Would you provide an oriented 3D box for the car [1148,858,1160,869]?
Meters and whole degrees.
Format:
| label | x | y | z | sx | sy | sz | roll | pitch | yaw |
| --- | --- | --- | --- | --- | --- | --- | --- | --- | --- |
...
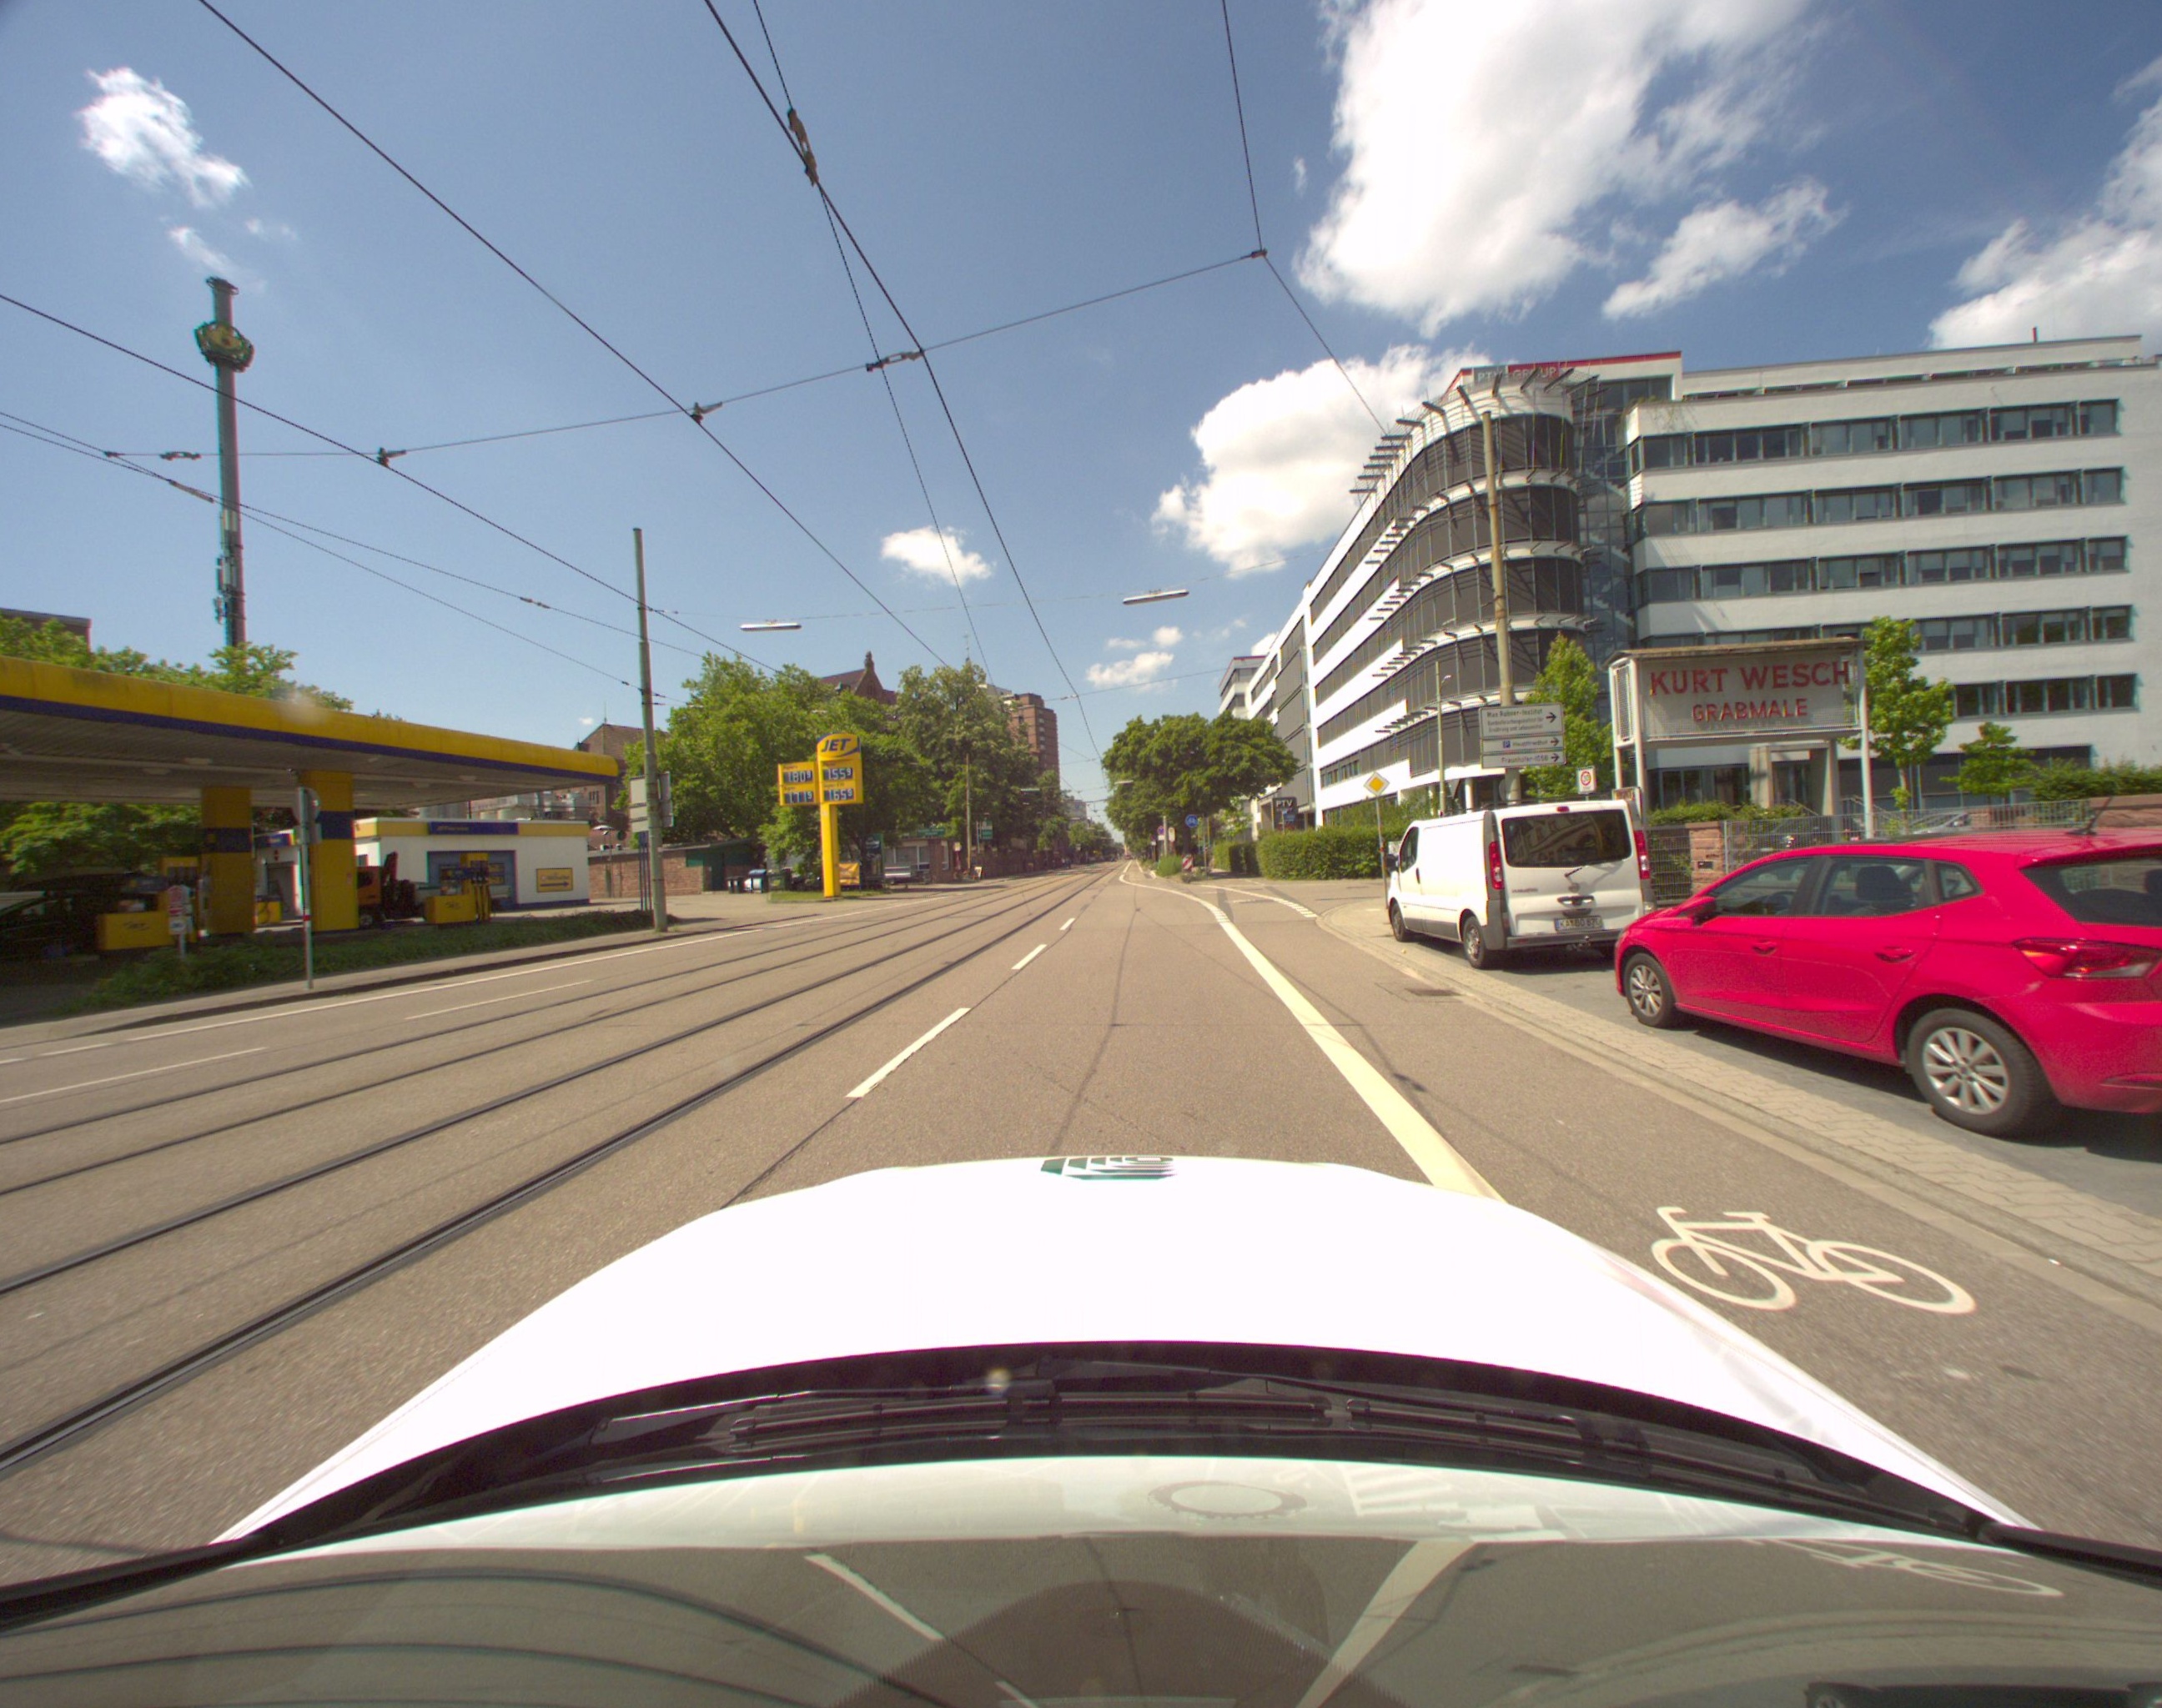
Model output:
| label | x | y | z | sx | sy | sz | roll | pitch | yaw |
| --- | --- | --- | --- | --- | --- | --- | --- | --- | --- |
| car | 10.176 | 1.309 | 113.714 | 1.627 | 1.501 | 4.004 | -3 | -1 | 4 |

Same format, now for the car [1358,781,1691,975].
| label | x | y | z | sx | sy | sz | roll | pitch | yaw |
| --- | --- | --- | --- | --- | --- | --- | --- | --- | --- |
| car | 5.839 | 0.267 | 11.776 | 1.985 | 1.991 | 5.520 | -5 | 0 | 4 |

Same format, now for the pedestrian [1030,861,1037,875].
| label | x | y | z | sx | sy | sz | roll | pitch | yaw |
| --- | --- | --- | --- | --- | --- | --- | --- | --- | --- |
| pedestrian | -6.136 | 1.826 | 106.300 | 0.740 | 1.728 | 0.868 | -3 | -1 | 3 |

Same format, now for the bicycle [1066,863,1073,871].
| label | x | y | z | sx | sy | sz | roll | pitch | yaw |
| --- | --- | --- | --- | --- | --- | --- | --- | --- | --- |
| bicycle | -1.707 | 1.942 | 121.554 | 0.698 | 1.204 | 2.242 | -5 | -1 | 3 |

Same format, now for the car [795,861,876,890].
| label | x | y | z | sx | sy | sz | roll | pitch | yaw |
| --- | --- | --- | --- | --- | --- | --- | --- | --- | --- |
| car | -15.276 | 1.331 | 50.798 | 4.358 | 1.590 | 1.976 | -3 | 0 | -42 |

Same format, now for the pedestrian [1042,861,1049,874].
| label | x | y | z | sx | sy | sz | roll | pitch | yaw |
| --- | --- | --- | --- | --- | --- | --- | --- | --- | --- |
| pedestrian | -4.687 | 1.789 | 107.639 | 0.811 | 1.770 | 0.925 | -3 | -1 | 3 |

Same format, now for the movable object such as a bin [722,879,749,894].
| label | x | y | z | sx | sy | sz | roll | pitch | yaw |
| --- | --- | --- | --- | --- | --- | --- | --- | --- | --- |
| movable object such as a bin | -21.532 | 2.005 | 50.766 | 1.332 | 0.873 | 0.762 | -3 | 0 | 23 |

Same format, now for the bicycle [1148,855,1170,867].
| label | x | y | z | sx | sy | sz | roll | pitch | yaw |
| --- | --- | --- | --- | --- | --- | --- | --- | --- | --- |
| bicycle | 9.213 | 0.843 | 96.027 | 2.497 | 1.209 | 0.649 | -3 | -1 | 7 |

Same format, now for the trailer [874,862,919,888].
| label | x | y | z | sx | sy | sz | roll | pitch | yaw |
| --- | --- | --- | --- | --- | --- | --- | --- | --- | --- |
| trailer | -13.417 | 1.519 | 59.306 | 2.817 | 1.704 | 1.623 | -3 | 0 | 4 |

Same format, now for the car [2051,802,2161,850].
| label | x | y | z | sx | sy | sz | roll | pitch | yaw |
| --- | --- | --- | --- | --- | --- | --- | --- | --- | --- |
| car | 35.330 | -0.964 | 27.024 | 3.970 | 1.444 | 1.760 | -3 | -1 | 3 |

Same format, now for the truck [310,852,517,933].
| label | x | y | z | sx | sy | sz | roll | pitch | yaw |
| --- | --- | --- | --- | --- | --- | --- | --- | --- | --- |
| truck | -23.250 | 1.272 | 28.619 | 1.974 | 2.498 | 5.237 | -3 | -1 | 34 |

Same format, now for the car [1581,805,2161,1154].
| label | x | y | z | sx | sy | sz | roll | pitch | yaw |
| --- | --- | --- | --- | --- | --- | --- | --- | --- | --- |
| car | 5.362 | 0.490 | 5.321 | 1.984 | 1.442 | 4.023 | -2 | 0 | 6 |

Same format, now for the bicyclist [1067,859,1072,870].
| label | x | y | z | sx | sy | sz | roll | pitch | yaw |
| --- | --- | --- | --- | --- | --- | --- | --- | --- | --- |
| bicyclist | -1.725 | 1.588 | 121.702 | 0.639 | 1.679 | 0.815 | -3 | -1 | 1 |

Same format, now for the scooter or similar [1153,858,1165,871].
| label | x | y | z | sx | sy | sz | roll | pitch | yaw |
| --- | --- | --- | --- | --- | --- | --- | --- | --- | --- |
| scooter or similar | 7.446 | 0.963 | 77.577 | 1.054 | 1.156 | 0.371 | -4 | -1 | 4 |

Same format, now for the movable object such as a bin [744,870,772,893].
| label | x | y | z | sx | sy | sz | roll | pitch | yaw |
| --- | --- | --- | --- | --- | --- | --- | --- | --- | --- |
| movable object such as a bin | -19.769 | 1.695 | 49.816 | 1.334 | 1.354 | 0.761 | -3 | 0 | 15 |

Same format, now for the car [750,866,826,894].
| label | x | y | z | sx | sy | sz | roll | pitch | yaw |
| --- | --- | --- | --- | --- | --- | --- | --- | --- | --- |
| car | -19.439 | 1.732 | 54.067 | 4.355 | 1.592 | 1.888 | -2 | 0 | -40 |

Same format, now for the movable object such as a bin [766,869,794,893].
| label | x | y | z | sx | sy | sz | roll | pitch | yaw |
| --- | --- | --- | --- | --- | --- | --- | --- | --- | --- |
| movable object such as a bin | -18.210 | 1.630 | 49.223 | 1.339 | 1.354 | 0.758 | -3 | -1 | 1 |

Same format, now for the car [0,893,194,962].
| label | x | y | z | sx | sy | sz | roll | pitch | yaw |
| --- | --- | --- | --- | --- | --- | --- | --- | --- | --- |
| car | -26.955 | 1.947 | 21.559 | 1.974 | 1.479 | 4.370 | -3 | 0 | 32 |

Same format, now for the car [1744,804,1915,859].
| label | x | y | z | sx | sy | sz | roll | pitch | yaw |
| --- | --- | --- | --- | --- | --- | --- | --- | --- | --- |
| car | 24.998 | -0.732 | 27.313 | 3.970 | 1.606 | 1.760 | -3 | -1 | 3 |
